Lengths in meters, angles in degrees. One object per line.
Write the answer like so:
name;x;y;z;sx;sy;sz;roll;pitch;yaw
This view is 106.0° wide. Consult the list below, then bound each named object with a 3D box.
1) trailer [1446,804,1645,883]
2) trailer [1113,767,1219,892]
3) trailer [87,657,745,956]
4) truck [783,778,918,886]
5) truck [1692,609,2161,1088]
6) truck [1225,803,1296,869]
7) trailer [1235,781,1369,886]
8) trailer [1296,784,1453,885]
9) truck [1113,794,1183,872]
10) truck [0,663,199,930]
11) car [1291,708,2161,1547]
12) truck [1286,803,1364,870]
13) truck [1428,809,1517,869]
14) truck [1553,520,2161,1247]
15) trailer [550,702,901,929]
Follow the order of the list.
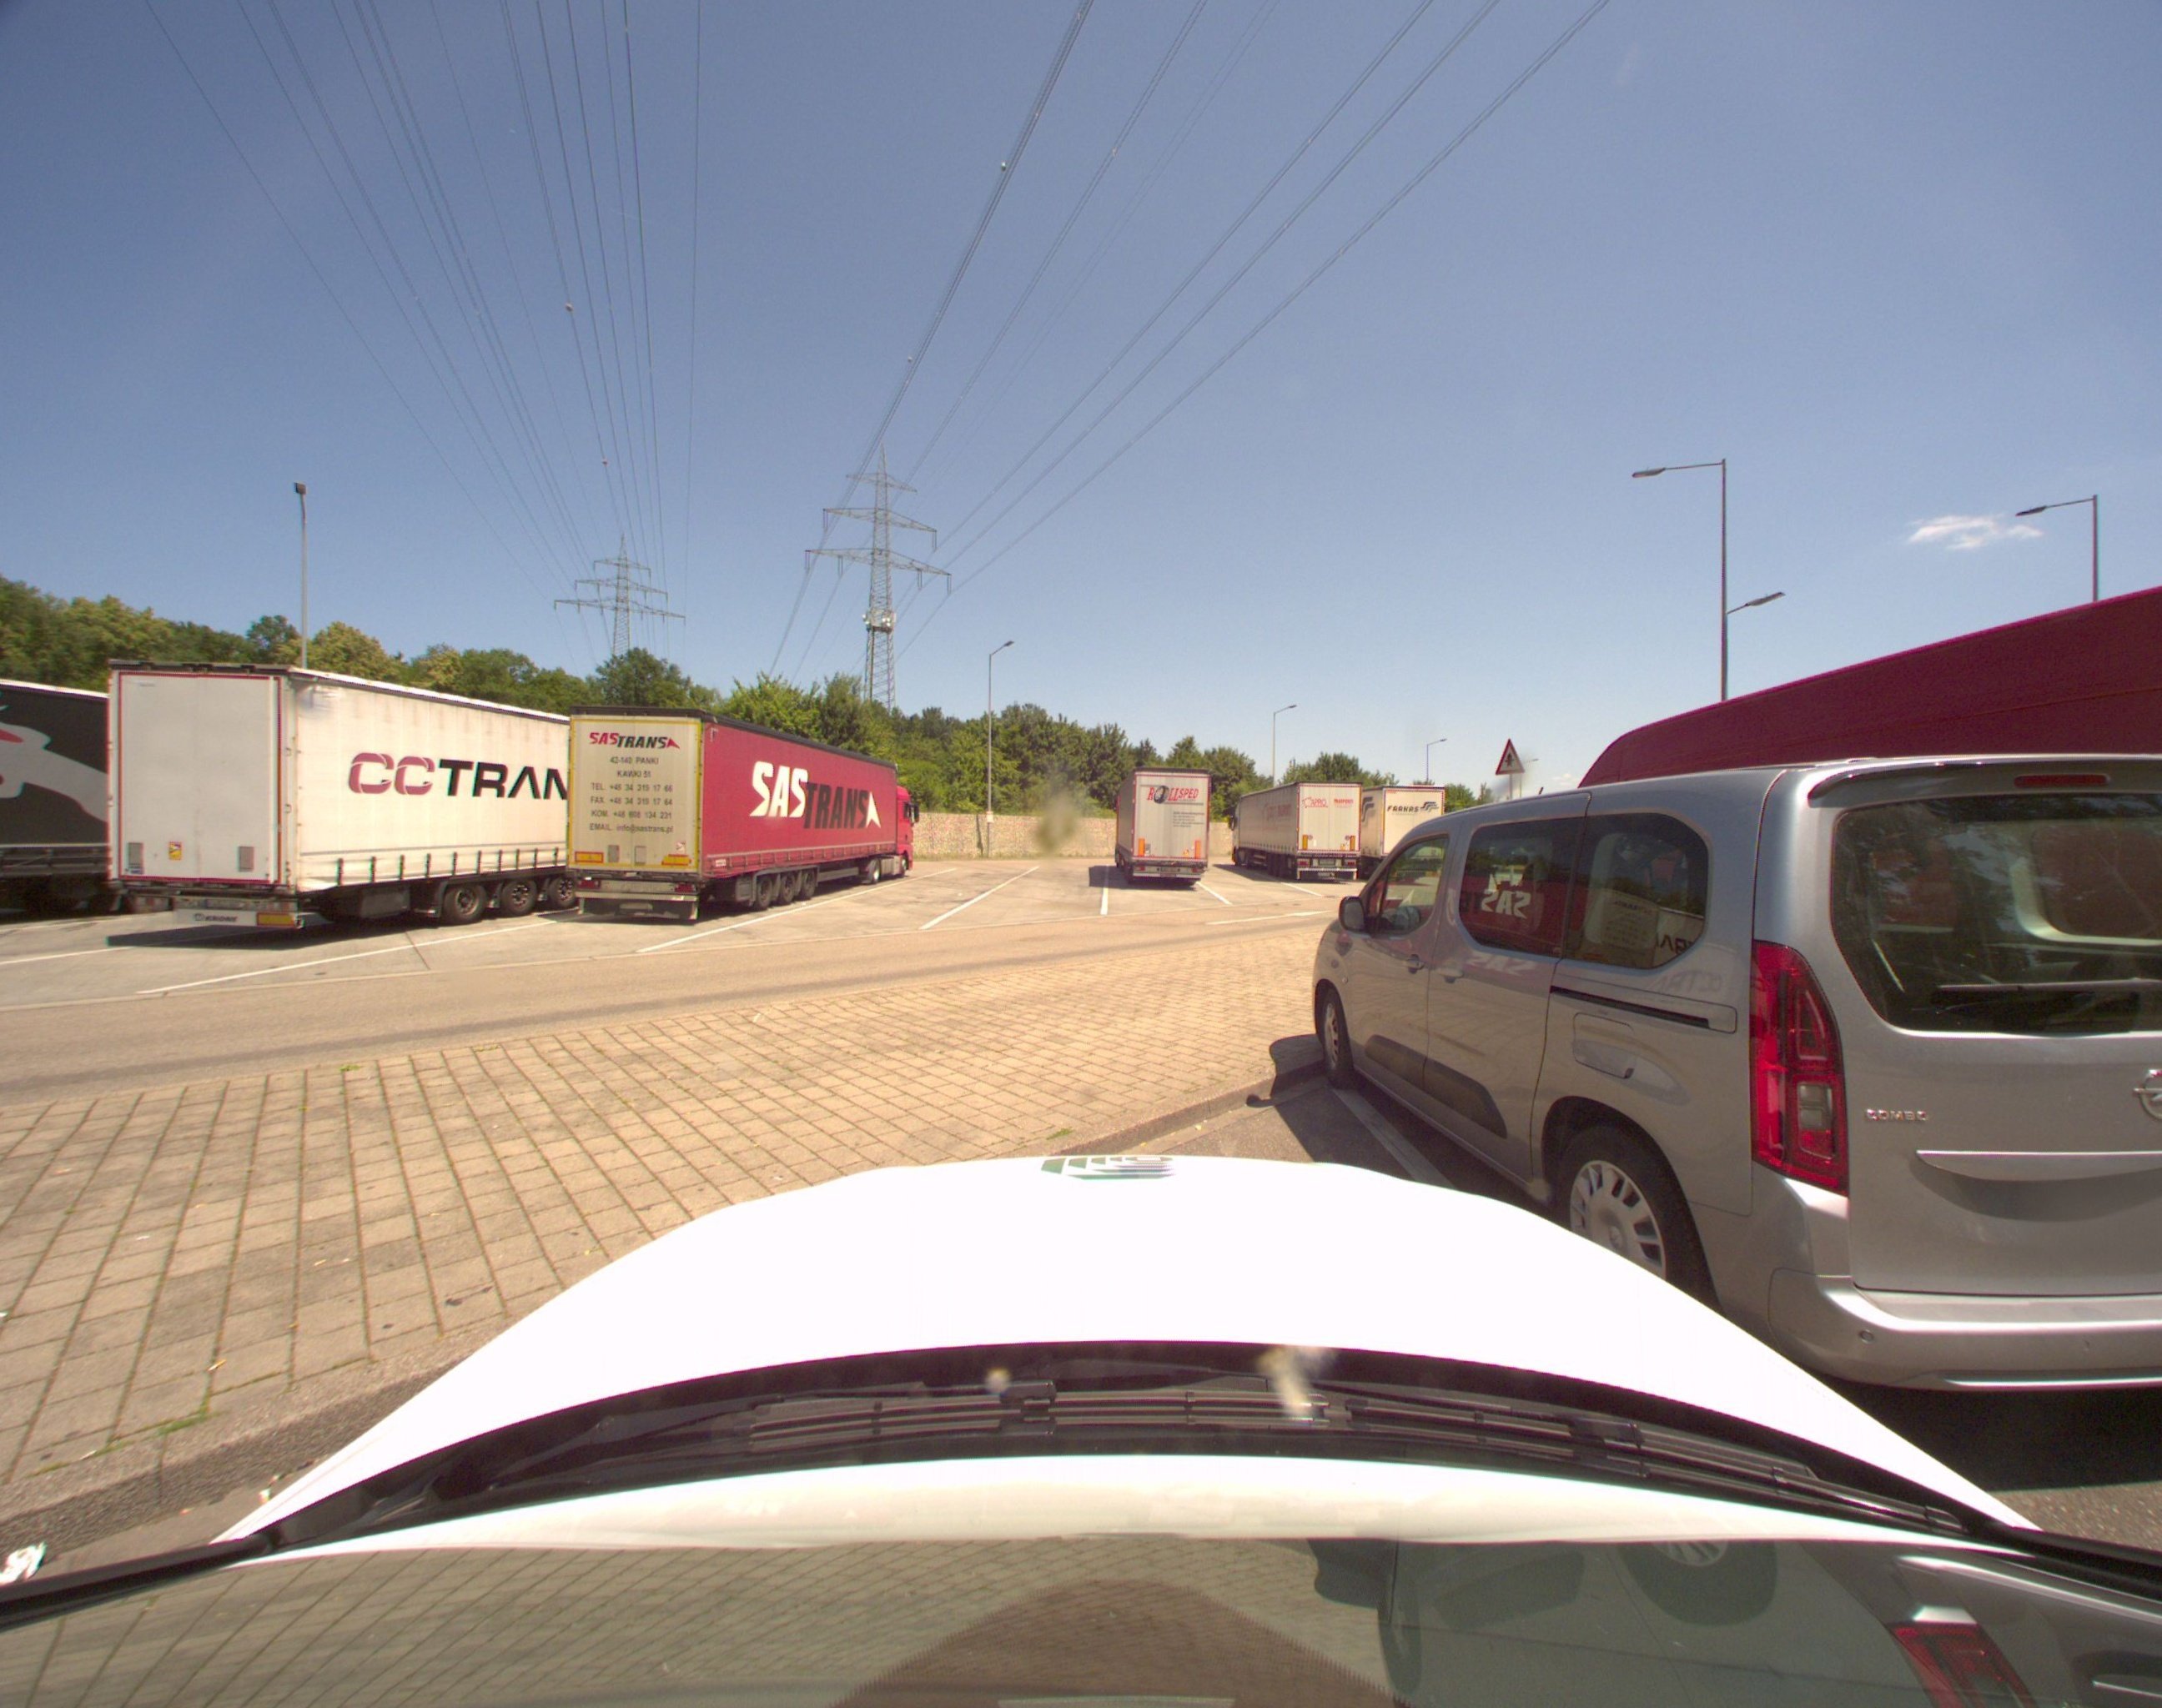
trailer;24.082;-0.727;43.780;2.801;3.507;14.403;1;2;2
trailer;3.049;-1.061;33.717;3.122;3.989;14.401;1;2;1
trailer;-12.139;-0.909;18.354;2.785;4.084;14.139;1;2;2
truck;-7.830;-0.783;28.494;2.840;3.327;5.903;1;2;2
truck;7.982;-0.029;6.478;2.444;2.912;5.663;-1;-1;7
truck;10.173;-1.071;46.769;2.852;3.521;5.903;1;2;2
trailer;9.913;-1.040;38.668;2.801;3.989;14.403;1;2;2
trailer;13.586;-1.031;39.631;2.801;3.989;14.403;1;2;2
truck;3.213;-1.078;40.611;3.092;3.566;5.903;1;2;2
truck;-18.551;-0.968;13.801;2.726;4.239;3.997;1;2;2
car;2.481;0.581;3.905;1.864;1.863;4.176;1;1;0
truck;13.826;-1.030;46.641;2.792;3.521;5.903;1;2;2
truck;24.337;-1.000;51.012;2.792;3.521;5.903;1;2;2
truck;5.127;0.126;4.929;1.968;2.622;5.314;0;-1;7
trailer;-8.076;-0.945;21.924;2.781;4.084;14.139;1;2;2
